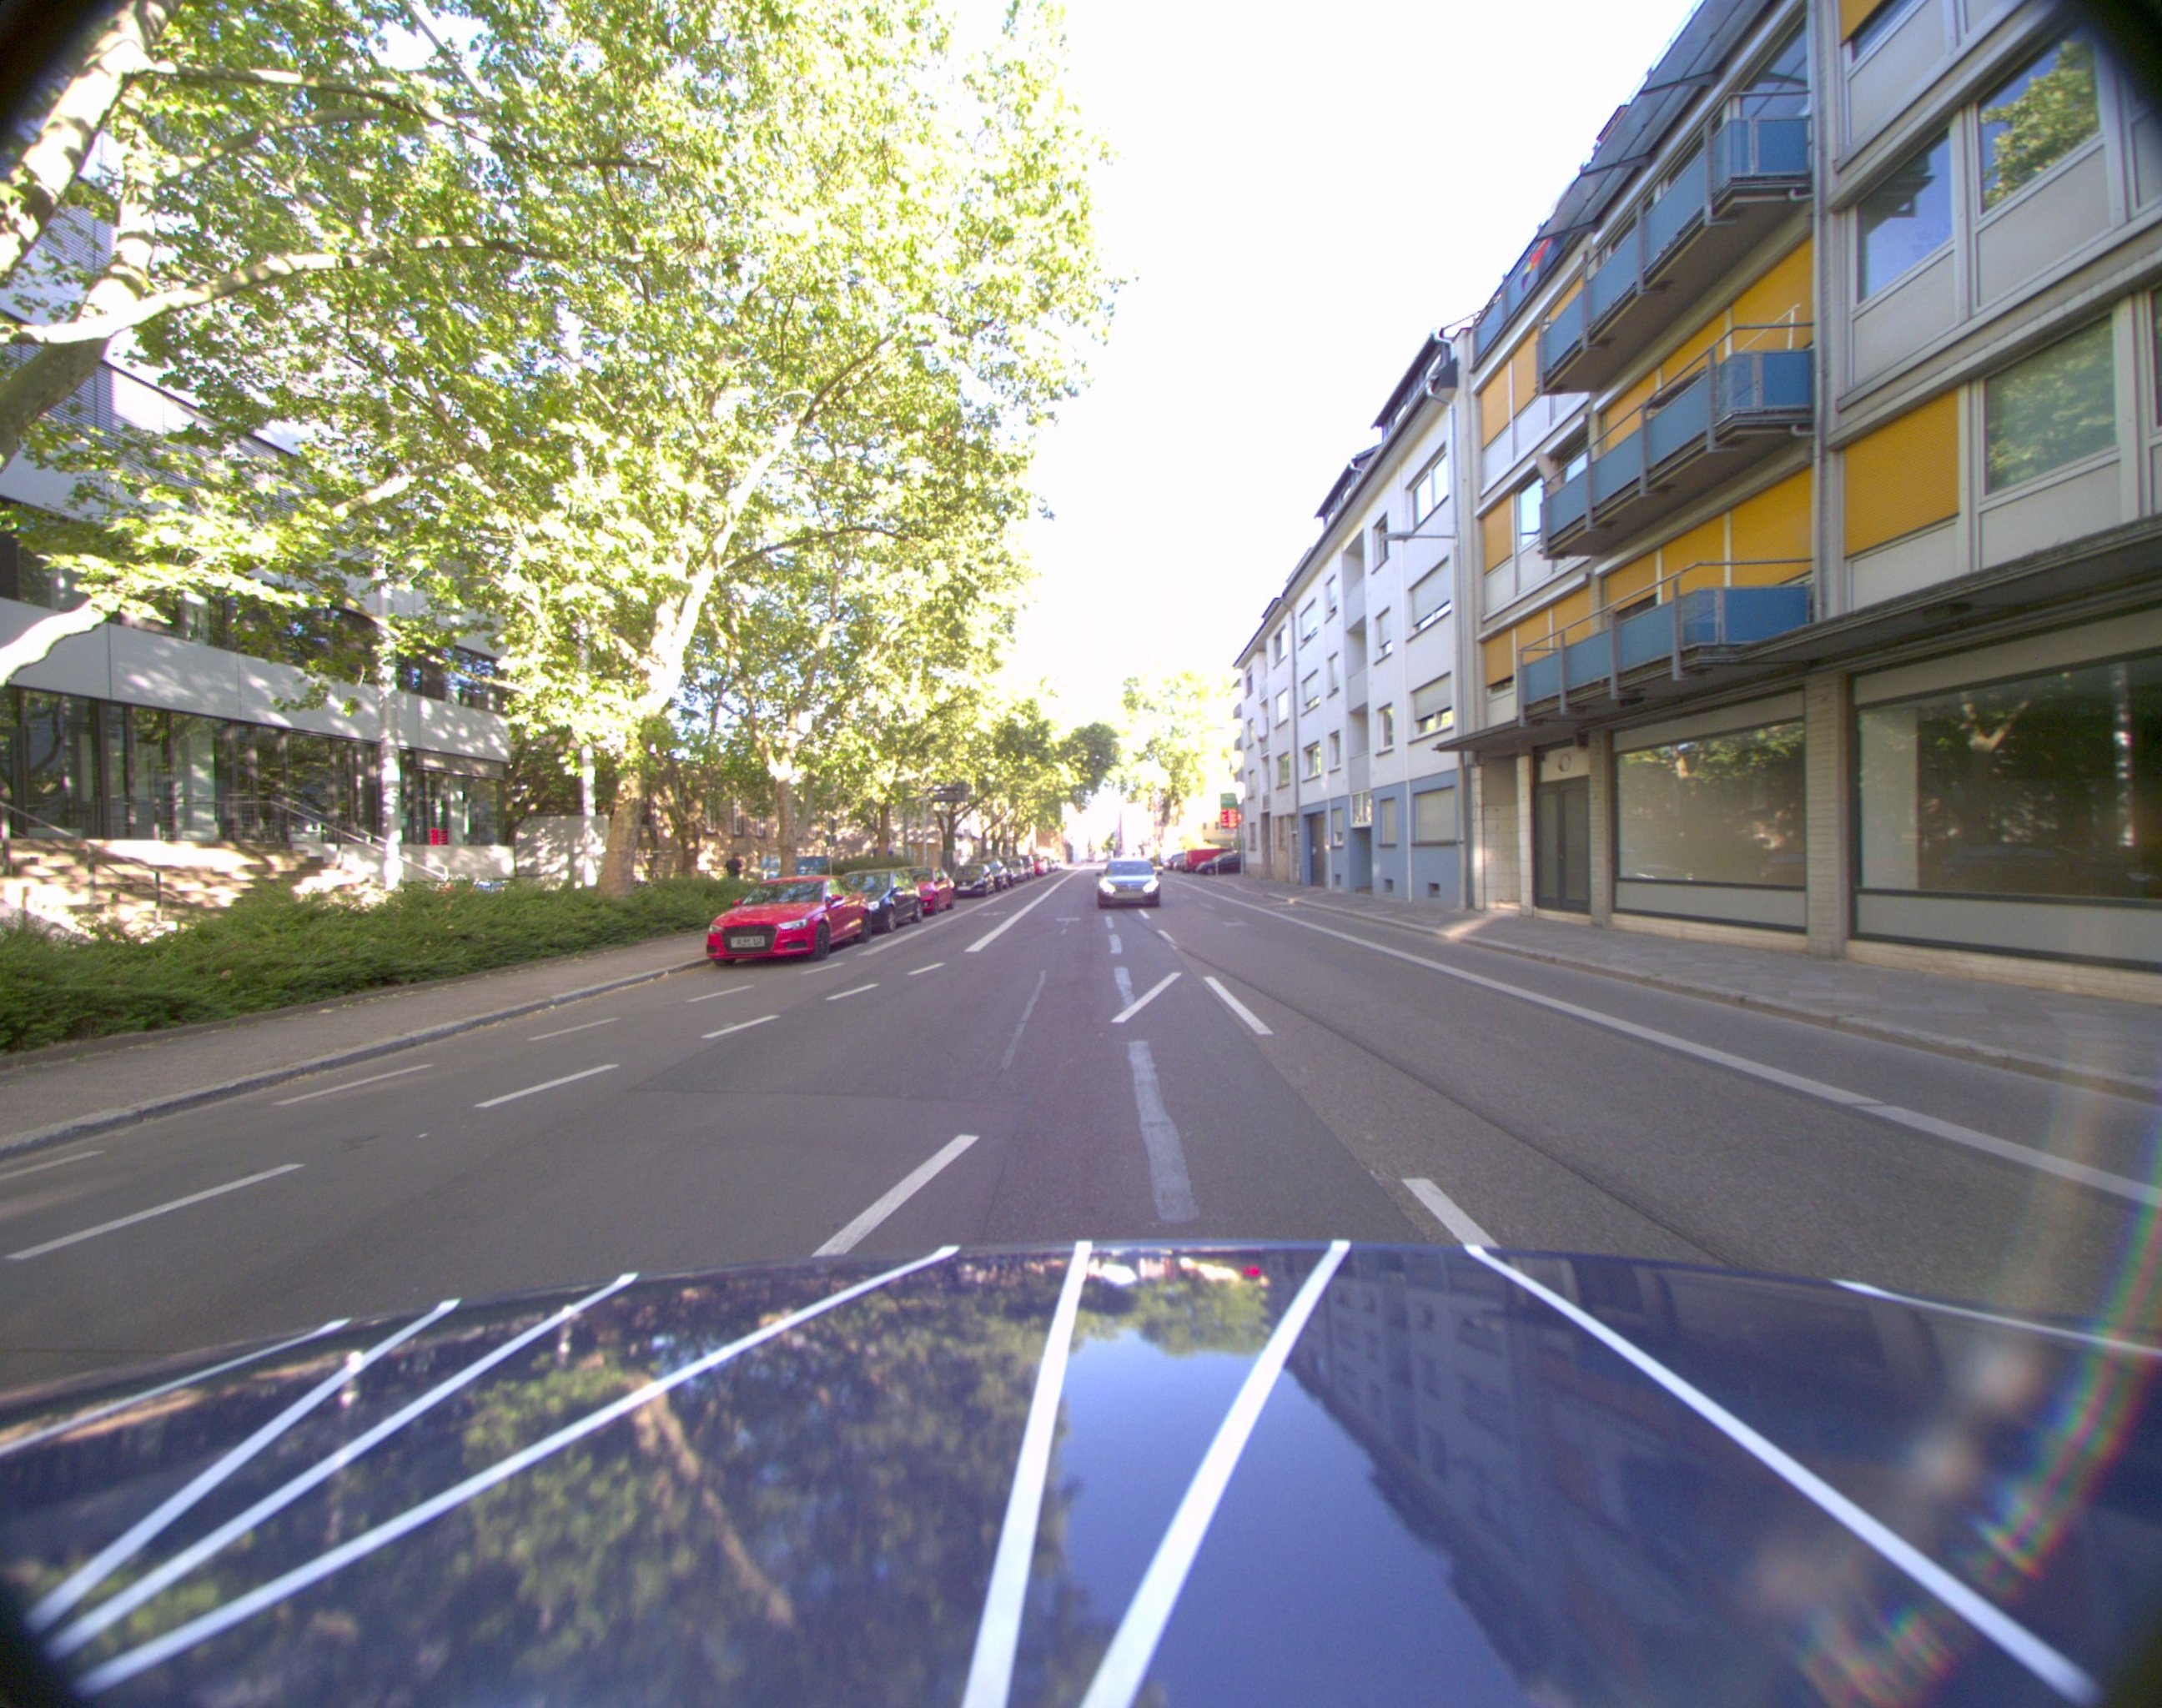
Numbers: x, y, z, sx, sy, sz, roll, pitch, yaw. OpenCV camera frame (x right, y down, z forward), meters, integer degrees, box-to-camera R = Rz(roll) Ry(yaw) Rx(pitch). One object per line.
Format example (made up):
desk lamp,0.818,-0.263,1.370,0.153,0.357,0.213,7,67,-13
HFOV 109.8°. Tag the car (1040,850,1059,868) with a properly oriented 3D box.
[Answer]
car,-3.819,0.591,91.885,1.998,2.002,4.000,-2,0,1

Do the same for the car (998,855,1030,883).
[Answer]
car,-4.359,0.942,50.109,1.634,1.604,4.576,-2,1,0

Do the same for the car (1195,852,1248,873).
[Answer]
car,10.086,0.590,54.727,3.508,1.380,1.490,-2,1,2

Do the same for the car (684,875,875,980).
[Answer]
car,-5.165,1.183,13.655,1.794,1.384,3.999,-2,1,0

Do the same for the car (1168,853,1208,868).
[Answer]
car,10.261,0.627,73.027,3.687,1.238,1.345,-2,1,2

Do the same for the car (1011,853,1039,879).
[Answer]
car,-4.043,0.818,55.236,1.634,1.725,3.769,-2,1,0

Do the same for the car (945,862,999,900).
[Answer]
car,-4.698,1.114,33.233,1.692,1.414,3.923,-2,1,0

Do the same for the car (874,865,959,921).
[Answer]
car,-5.017,1.136,23.682,1.692,1.441,3.923,-2,1,1

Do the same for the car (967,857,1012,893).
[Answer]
car,-4.523,0.995,38.104,1.634,1.569,4.231,-2,1,0

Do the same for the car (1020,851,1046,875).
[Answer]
car,-4.176,0.725,66.089,1.915,1.940,3.769,-2,1,0

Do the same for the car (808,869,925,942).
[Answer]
car,-5.054,1.165,18.408,1.669,1.410,3.697,-2,1,1

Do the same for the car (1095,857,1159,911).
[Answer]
car,1.345,0.871,23.691,1.752,1.423,4.266,-2,0,1

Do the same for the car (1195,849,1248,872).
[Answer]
car,10.529,0.485,57.095,3.687,1.503,1.490,-2,1,2

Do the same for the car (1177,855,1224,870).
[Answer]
car,9.806,0.694,62.586,3.687,1.122,1.345,-2,1,2

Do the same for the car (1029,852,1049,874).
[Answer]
car,-3.909,0.809,71.000,1.599,1.835,3.769,-2,1,0

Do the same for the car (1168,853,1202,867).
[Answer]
car,10.317,0.582,75.464,3.271,1.238,1.345,-2,1,2

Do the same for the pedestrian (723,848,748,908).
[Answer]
pedestrian,-11.711,0.798,25.753,0.552,2.002,0.562,-2,1,-11

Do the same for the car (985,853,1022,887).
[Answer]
car,-4.460,0.856,44.237,1.634,1.781,4.576,-2,1,0

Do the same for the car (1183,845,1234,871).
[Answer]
car,10.055,0.321,59.940,3.688,1.897,1.490,-2,-1,-1
